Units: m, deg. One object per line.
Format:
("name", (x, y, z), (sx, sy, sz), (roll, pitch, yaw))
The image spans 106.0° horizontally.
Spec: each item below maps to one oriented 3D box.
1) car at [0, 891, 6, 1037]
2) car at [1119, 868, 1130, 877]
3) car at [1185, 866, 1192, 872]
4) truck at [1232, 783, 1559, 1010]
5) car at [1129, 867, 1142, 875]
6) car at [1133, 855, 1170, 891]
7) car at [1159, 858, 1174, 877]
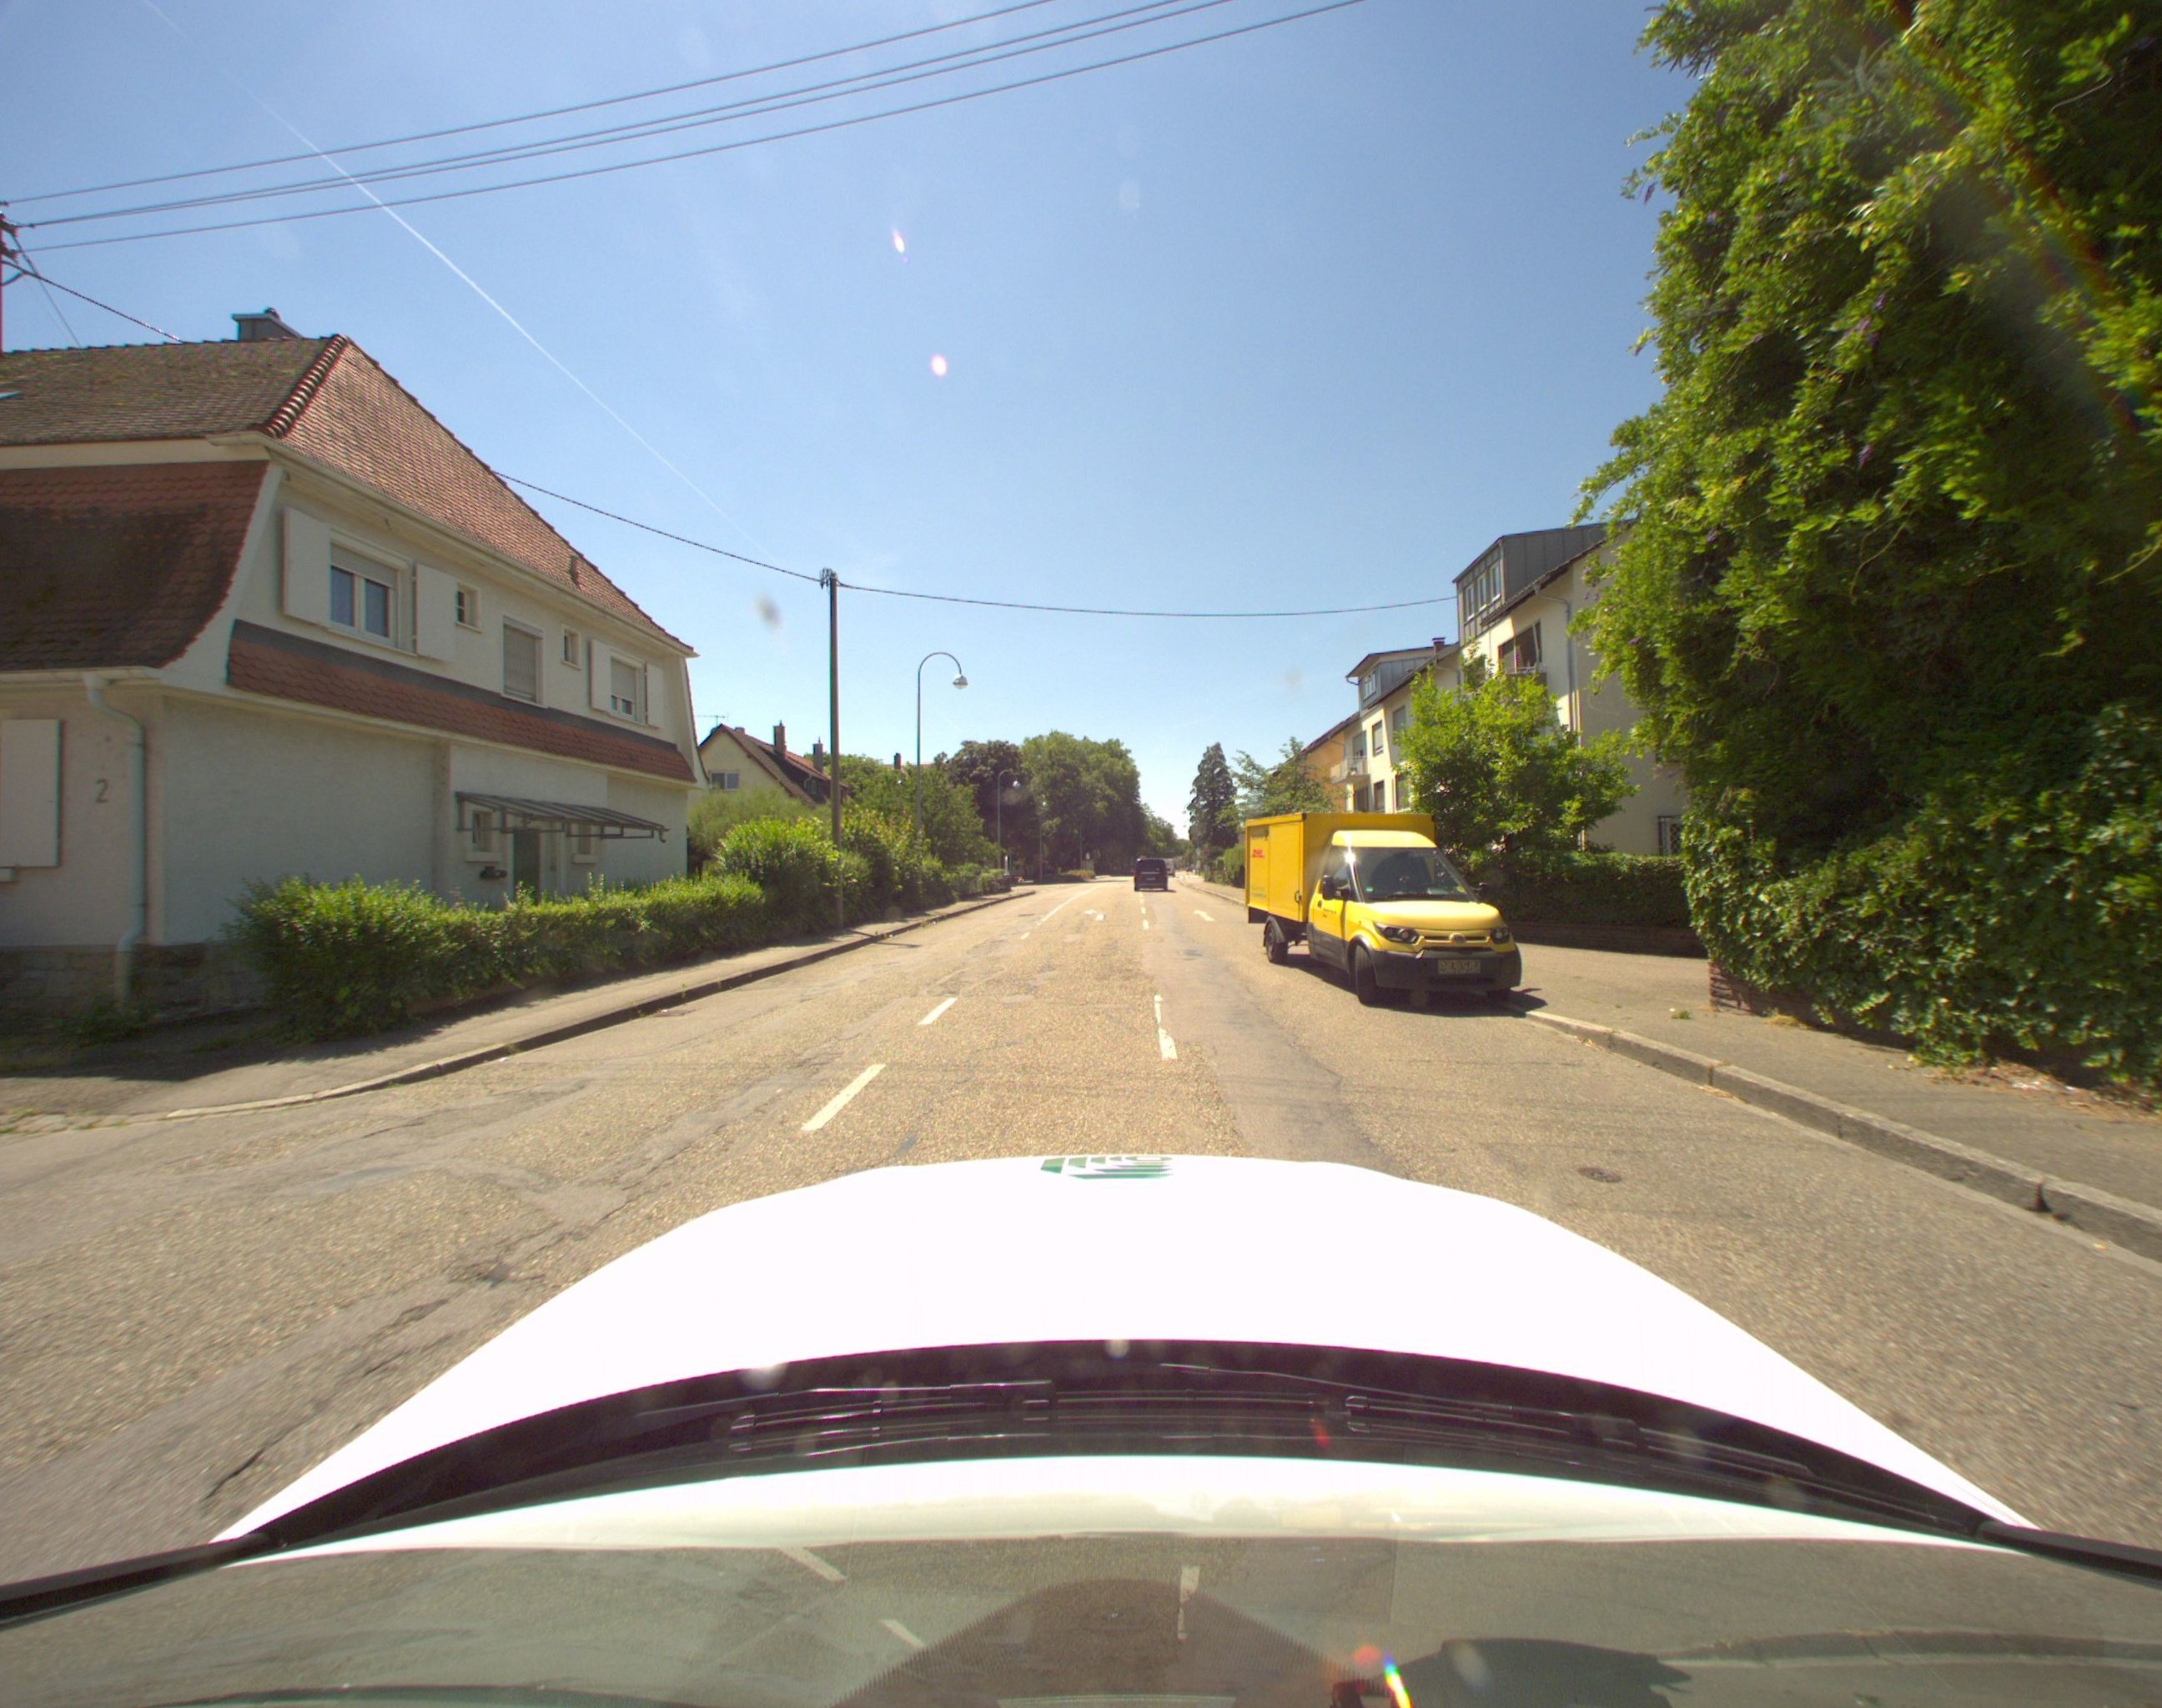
("car", (-12.402, 1.141, 7.001), (3.781, 1.424, 1.773), (-2, 0, -2))
("car", (7.541, 3.151, 140.432), (1.542, 1.450, 3.697), (0, -1, 7))
("car", (29.675, 4.119, 224.978), (1.848, 1.643, 4.006), (0, 0, 6))
("truck", (3.829, 0.455, 11.476), (2.008, 2.308, 6.170), (1, 0, -2))
("car", (9.985, 3.097, 148.959), (1.678, 1.460, 3.654), (0, 0, 15))
("car", (4.034, 1.037, 46.072), (1.983, 1.893, 4.007), (0, 0, 6))
("car", (12.197, 1.895, 116.364), (2.110, 2.678, 5.670), (0, 0, 5))
